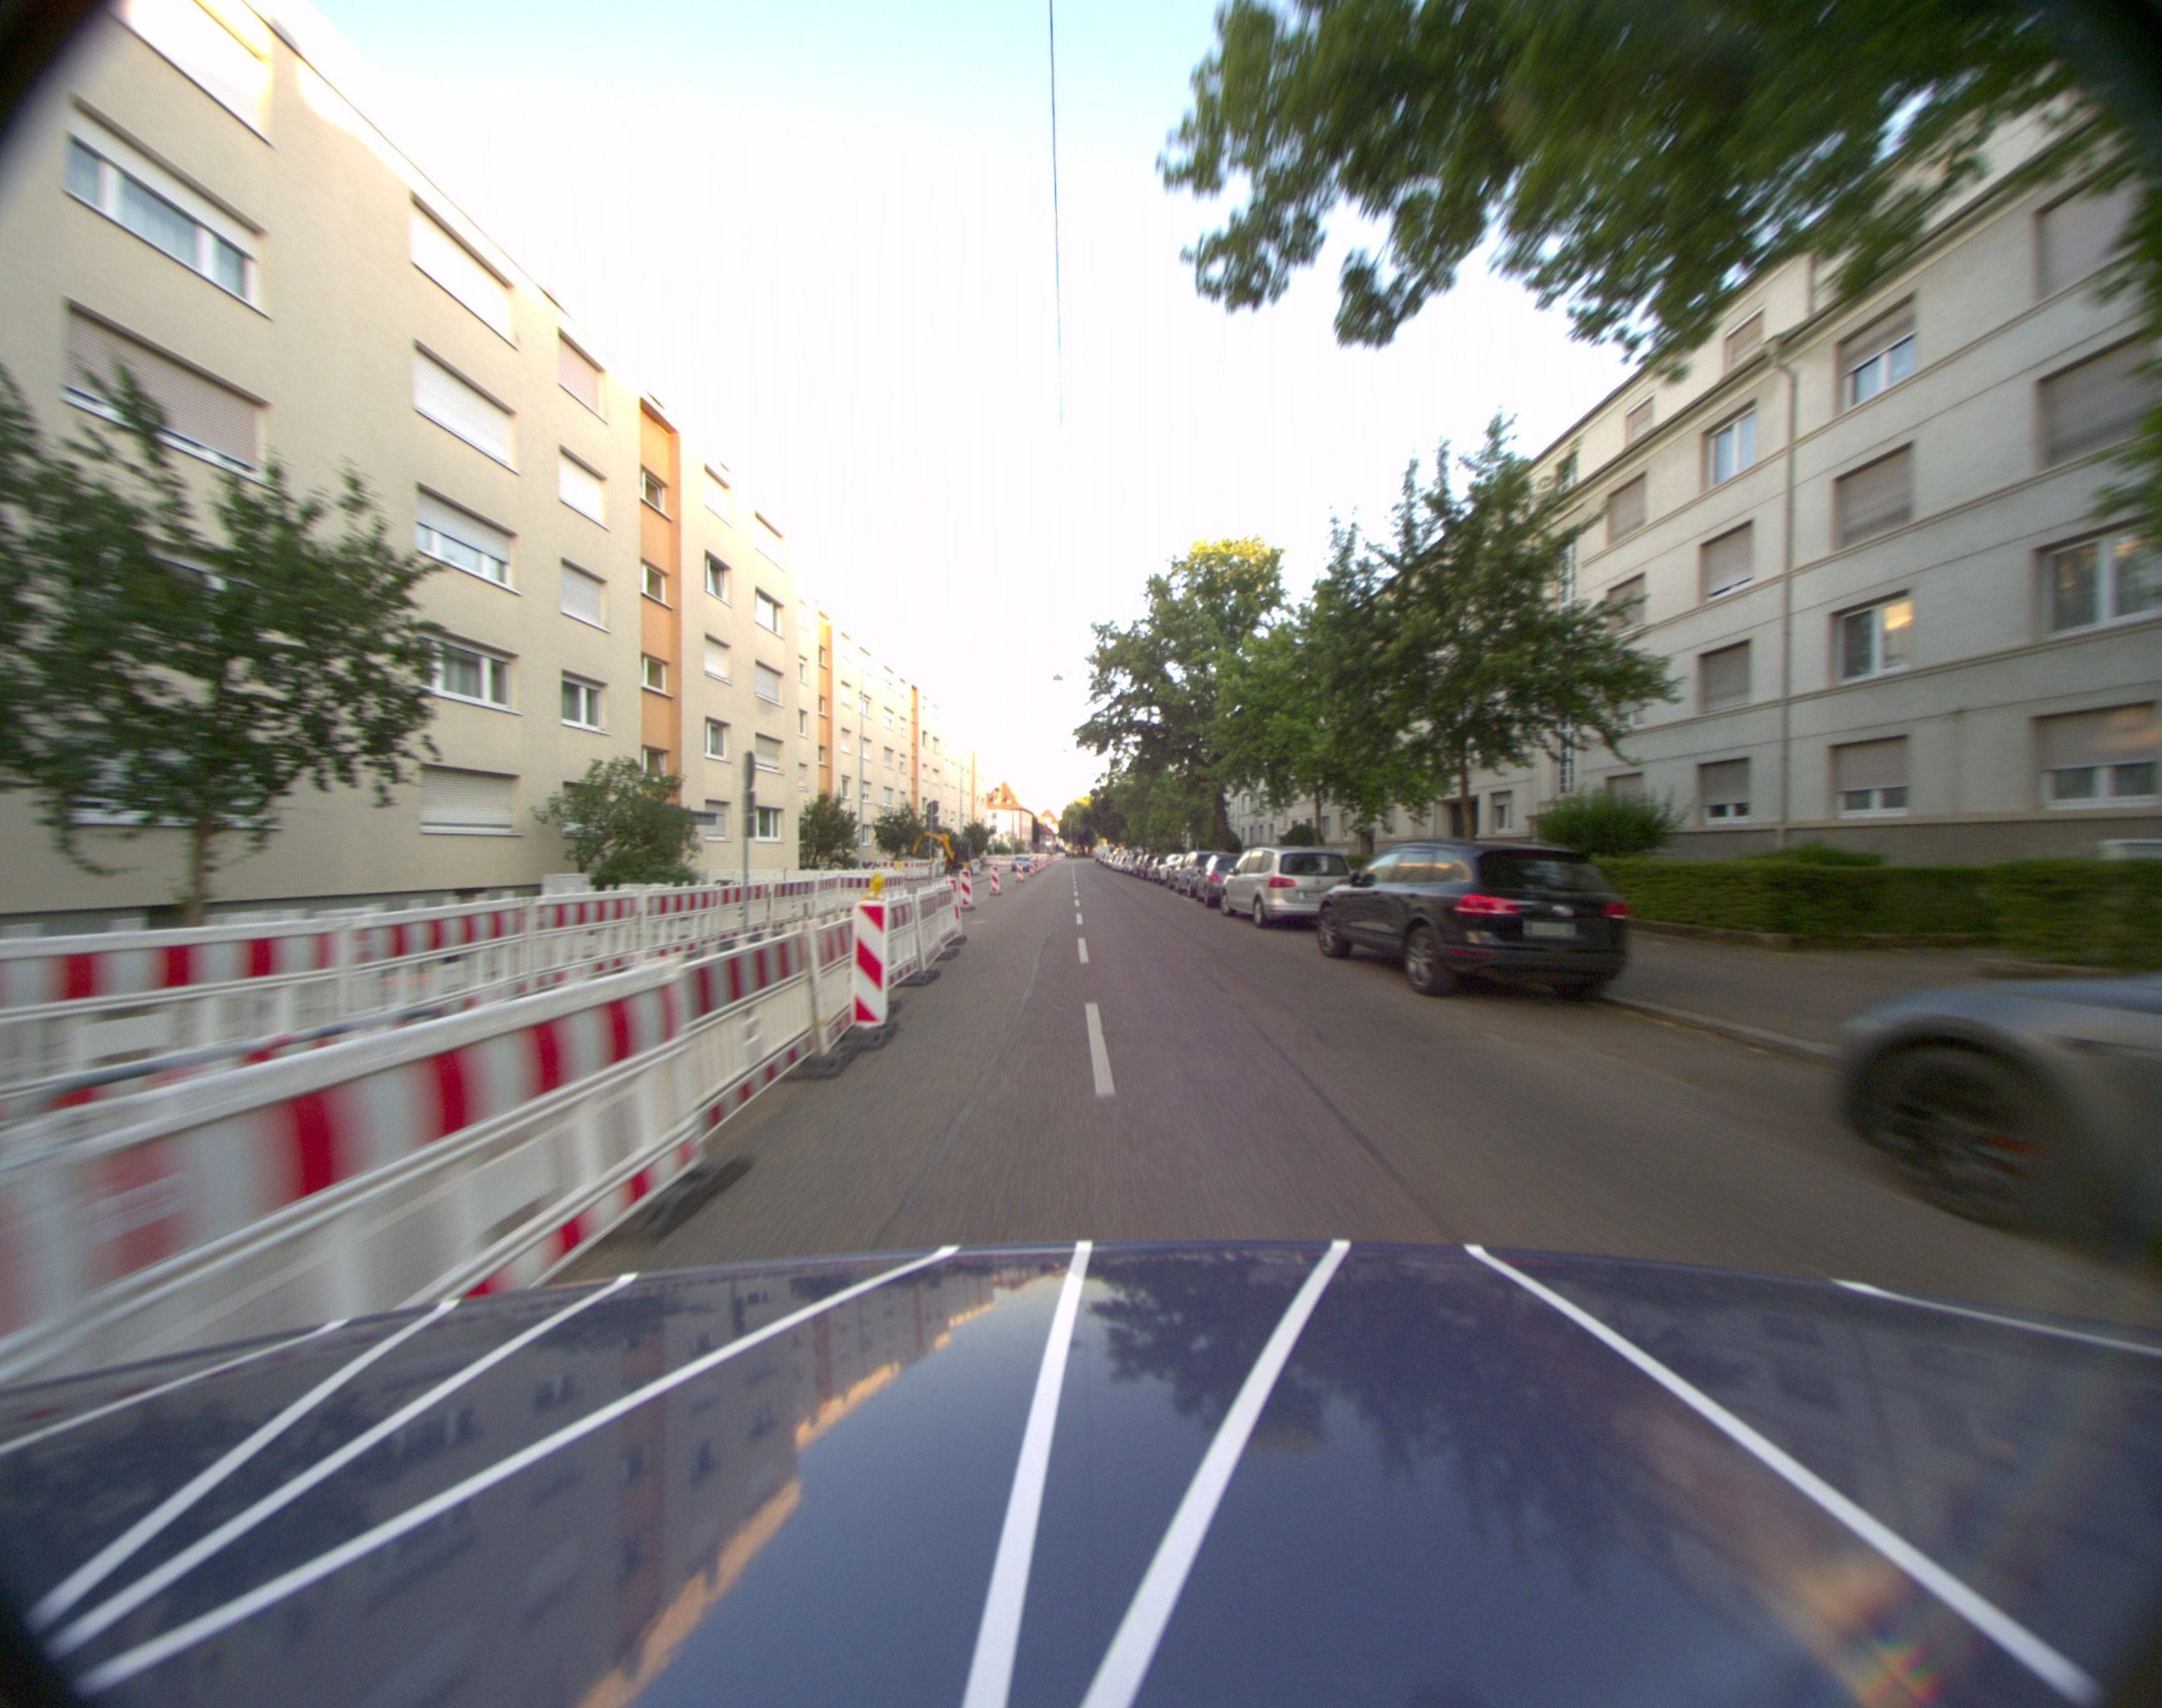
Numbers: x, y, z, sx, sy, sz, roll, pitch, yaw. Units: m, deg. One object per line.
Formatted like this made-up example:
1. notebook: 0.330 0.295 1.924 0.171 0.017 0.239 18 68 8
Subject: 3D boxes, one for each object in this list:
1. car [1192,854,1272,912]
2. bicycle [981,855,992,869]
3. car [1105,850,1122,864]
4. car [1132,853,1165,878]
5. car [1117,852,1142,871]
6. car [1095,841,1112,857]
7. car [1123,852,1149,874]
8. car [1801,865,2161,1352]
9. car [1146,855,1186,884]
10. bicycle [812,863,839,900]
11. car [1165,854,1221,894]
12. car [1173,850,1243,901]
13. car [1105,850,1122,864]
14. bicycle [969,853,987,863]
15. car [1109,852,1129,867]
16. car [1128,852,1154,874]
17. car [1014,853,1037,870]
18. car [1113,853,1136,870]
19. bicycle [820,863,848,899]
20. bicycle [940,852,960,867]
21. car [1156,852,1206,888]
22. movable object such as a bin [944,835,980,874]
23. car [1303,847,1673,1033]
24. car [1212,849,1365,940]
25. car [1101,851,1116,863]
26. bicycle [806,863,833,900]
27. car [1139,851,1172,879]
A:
1. car: 4.368 0.781 22.503 1.736 1.488 4.271 2 0 4
2. bicycle: -8.475 0.718 68.201 0.558 1.165 1.813 -1 1 -20
3. car: 3.849 0.344 90.146 1.756 1.471 3.944 3 1 1
4. car: 4.379 0.704 49.820 1.594 1.458 4.100 3 1 -2
5. car: 4.112 0.585 65.138 1.696 1.451 4.482 3 1 -1
6. car: 3.484 -0.798 119.163 2.185 2.447 6.102 3 1 -1
7. car: 4.238 0.659 58.716 1.594 1.496 3.798 3 1 -1
8. car: 4.644 0.903 1.508 1.959 1.607 4.604 2 0 -1
9. car: 4.589 0.791 41.607 1.594 1.396 4.180 3 1 -1
10. bicycle: -9.117 0.962 27.181 0.399 1.215 1.910 -1 1 -3
11. car: 4.613 0.781 31.804 1.711 1.444 3.842 3 1 0
12. car: 4.485 0.702 27.384 1.711 1.591 4.116 3 1 -1
13. car: 3.986 0.327 94.720 1.757 1.622 4.106 3 1 -2
14. bicycle: -11.006 0.444 81.055 1.755 0.981 0.558 5 2 8
15. car: 3.971 0.578 79.764 1.679 1.451 3.704 3 1 -3
16. car: 4.278 0.623 54.577 1.594 1.520 2.921 3 1 1
17. car: -5.305 0.704 72.864 1.780 1.482 4.573 4 1 0
18. car: 3.972 0.657 69.932 1.697 1.451 4.143 3 1 -2
19. bicycle: -8.843 0.953 27.274 0.453 1.215 1.910 -1 1 -3
20. bicycle: -10.752 0.442 62.563 1.597 1.215 0.485 -1 1 -7
21. car: 4.699 0.705 36.198 1.594 1.530 4.205 3 1 -3
22. movable object such as a bin: -8.440 0.034 54.012 1.937 2.677 2.892 0 1 4
23. car: 4.541 0.802 9.551 1.959 1.709 4.770 2 0 -1
24. car: 4.387 0.766 16.961 1.851 1.681 4.857 2 0 -2
25. car: 3.625 0.332 100.283 1.757 1.463 4.223 3 1 1
26. bicycle: -9.369 0.968 27.246 0.399 1.215 1.825 -1 1 -3
27. car: 4.449 0.638 45.751 1.527 1.520 3.163 3 1 -2
